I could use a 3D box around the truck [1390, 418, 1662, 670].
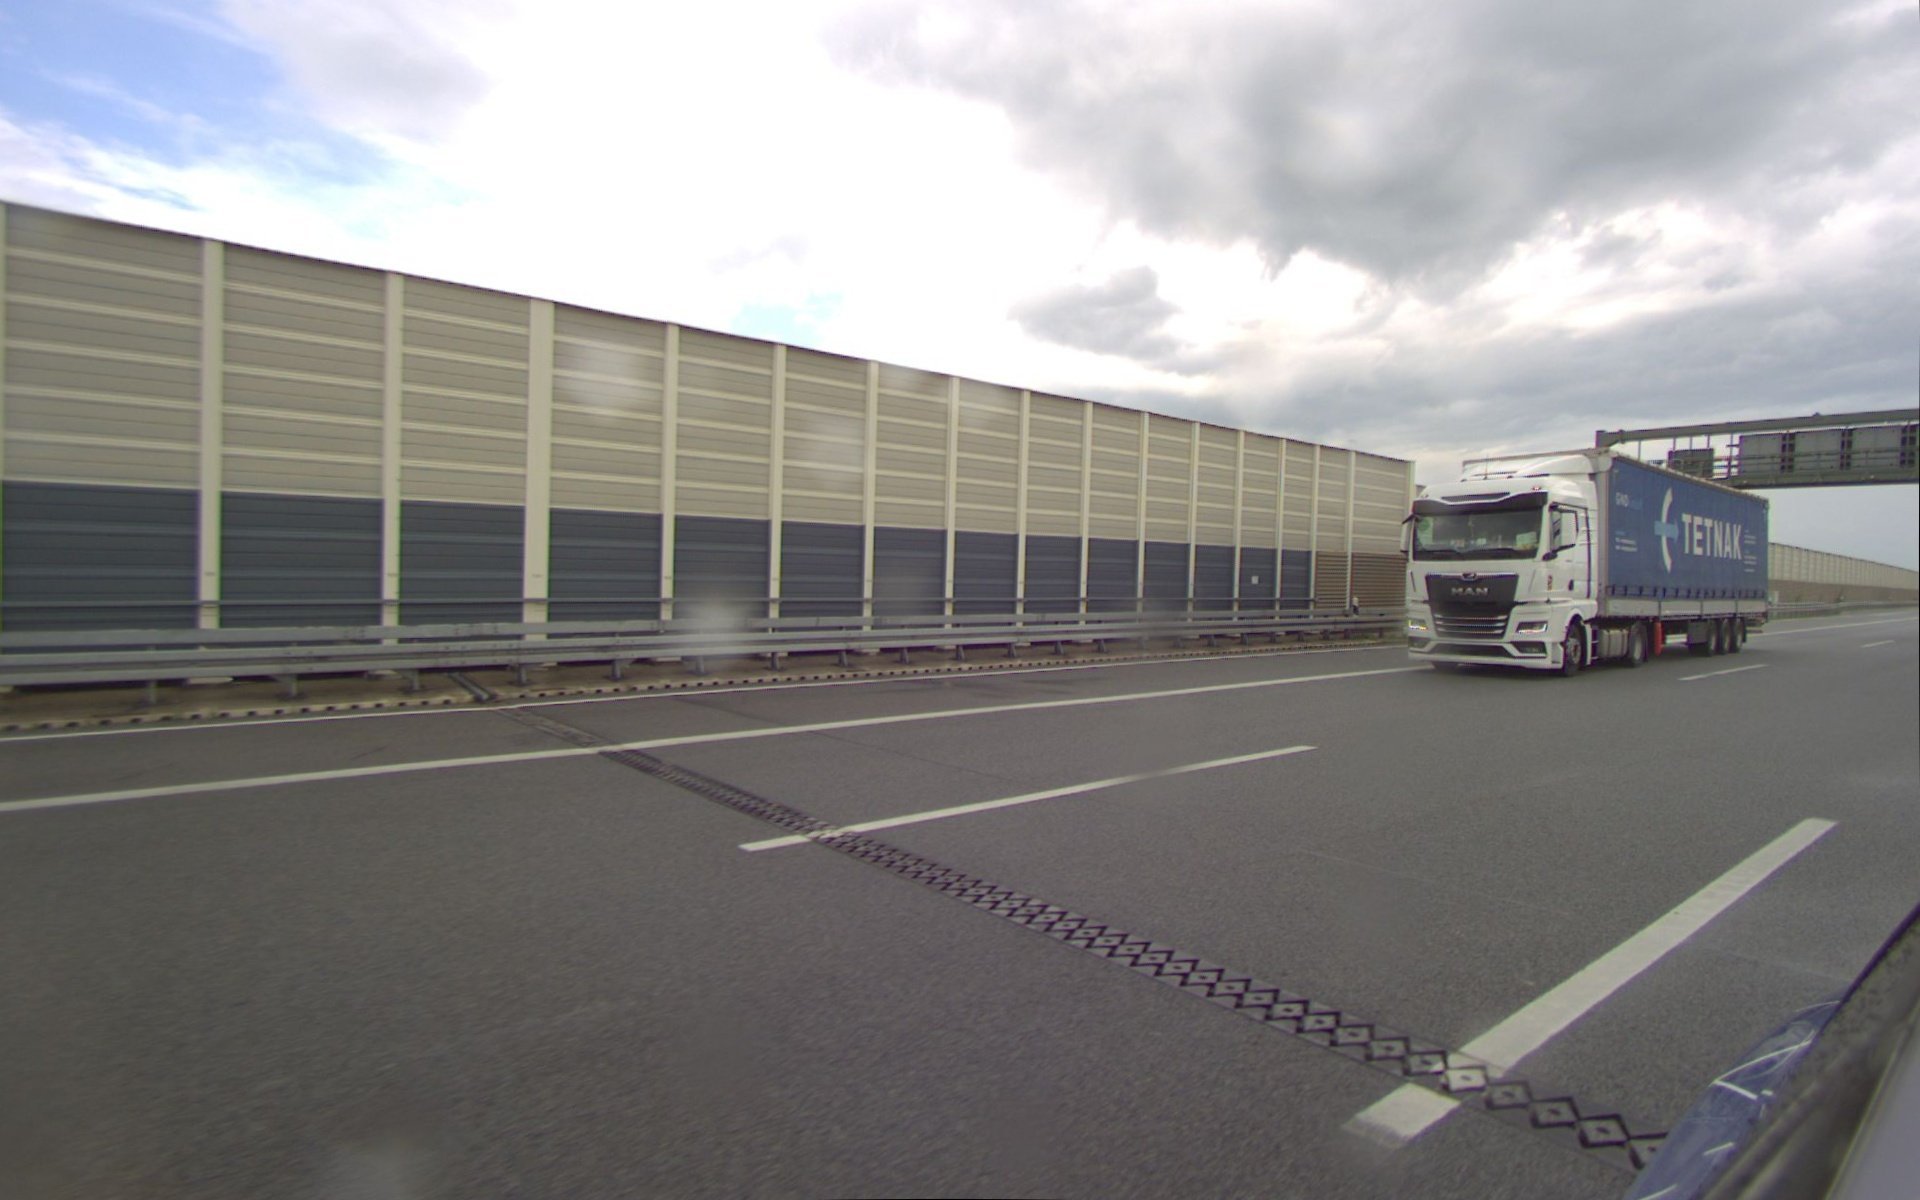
[{"bbox_3d":[10.905,-0.948,19.308,5.626,4.085,2.750,0,1,-41],"label":"truck"}]

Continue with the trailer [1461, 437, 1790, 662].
[{"bbox_3d":[16.434,-0.973,24.096,14.200,4.082,2.766,0,1,-41],"label":"trailer"}]
